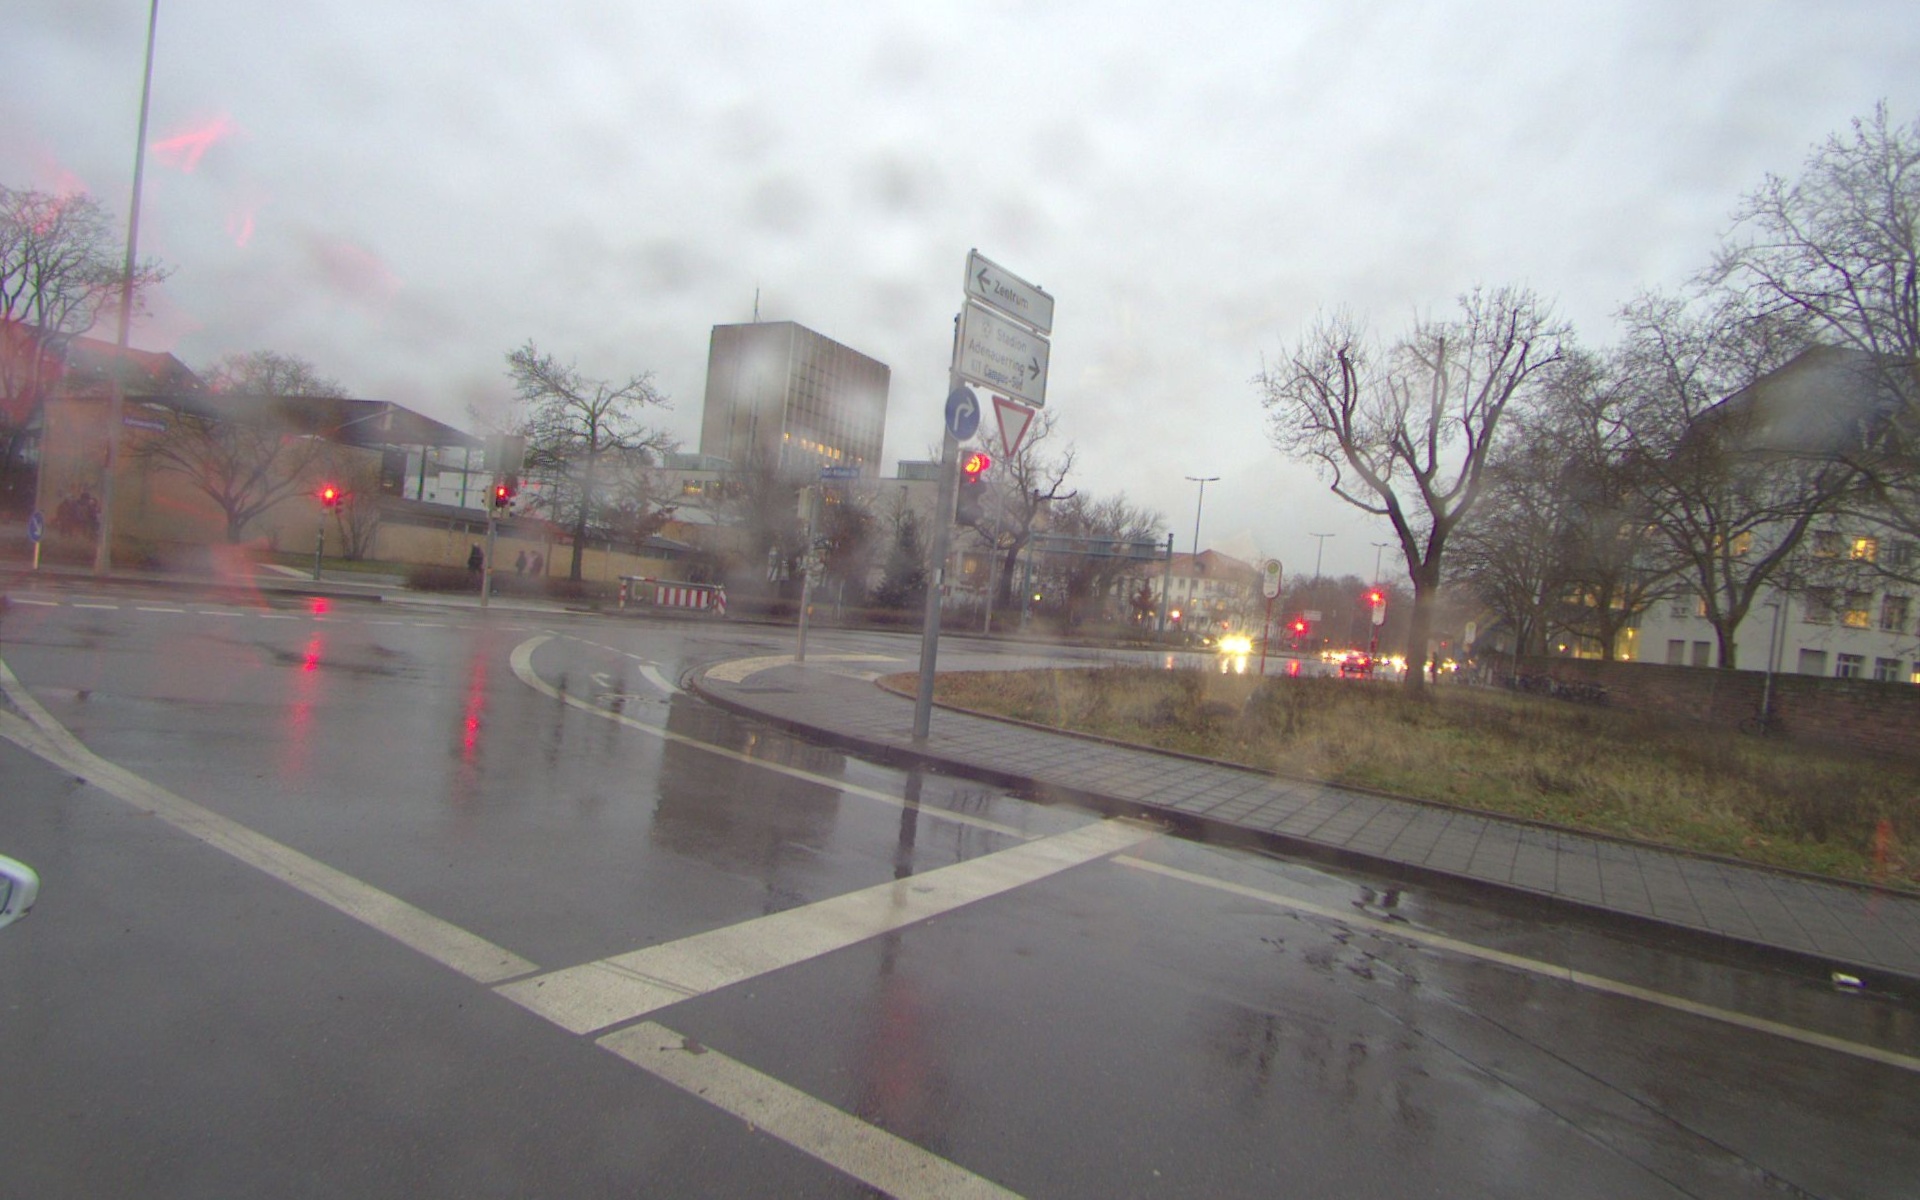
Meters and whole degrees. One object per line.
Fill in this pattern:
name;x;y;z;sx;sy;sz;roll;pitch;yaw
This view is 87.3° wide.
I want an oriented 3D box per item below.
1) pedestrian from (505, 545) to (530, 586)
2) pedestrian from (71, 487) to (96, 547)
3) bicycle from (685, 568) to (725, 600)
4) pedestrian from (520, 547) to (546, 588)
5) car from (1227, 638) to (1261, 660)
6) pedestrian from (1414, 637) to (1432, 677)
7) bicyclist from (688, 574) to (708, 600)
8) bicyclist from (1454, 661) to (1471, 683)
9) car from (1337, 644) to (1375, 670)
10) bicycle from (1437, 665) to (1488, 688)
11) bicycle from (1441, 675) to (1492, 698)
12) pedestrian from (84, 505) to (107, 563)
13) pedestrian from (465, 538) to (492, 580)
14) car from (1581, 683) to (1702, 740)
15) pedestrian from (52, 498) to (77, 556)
pedestrian;-20.123;-1.564;45.742;0.749;1.745;0.623;5;-1;38
pedestrian;-28.481;-2.694;32.702;0.456;1.860;0.434;7;-1;-41
bicycle;-13.212;-0.804;52.119;0.584;1.439;1.922;5;-2;40
pedestrian;-19.176;-1.467;45.159;0.749;1.745;0.623;5;-1;38
car;26.743;4.582;94.596;1.720;1.670;4.237;5;-3;35
pedestrian;22.391;2.745;48.668;0.633;1.857;0.836;5;-1;23
bicyclist;-13.479;-0.673;51.795;0.599;1.261;0.697;5;-2;40
bicyclist;27.230;3.909;54.500;0.690;1.092;0.494;5;-1;32
car;31.261;4.529;79.439;1.861;1.670;3.635;5;-3;35
bicycle;27.544;4.198;55.177;2.373;1.003;0.537;5;-2;31
bicycle;27.386;4.679;54.431;2.373;1.003;0.479;5;-2;31
pedestrian;-28.898;-2.202;33.631;0.435;1.860;0.455;6;-1;-40
pedestrian;-21.001;-1.797;43.882;0.749;1.745;0.623;5;-1;38
car;15.488;2.541;22.845;2.656;0.989;1.290;7;1;-34
pedestrian;-29.468;-2.389;33.104;0.436;1.860;0.455;6;-1;-40
